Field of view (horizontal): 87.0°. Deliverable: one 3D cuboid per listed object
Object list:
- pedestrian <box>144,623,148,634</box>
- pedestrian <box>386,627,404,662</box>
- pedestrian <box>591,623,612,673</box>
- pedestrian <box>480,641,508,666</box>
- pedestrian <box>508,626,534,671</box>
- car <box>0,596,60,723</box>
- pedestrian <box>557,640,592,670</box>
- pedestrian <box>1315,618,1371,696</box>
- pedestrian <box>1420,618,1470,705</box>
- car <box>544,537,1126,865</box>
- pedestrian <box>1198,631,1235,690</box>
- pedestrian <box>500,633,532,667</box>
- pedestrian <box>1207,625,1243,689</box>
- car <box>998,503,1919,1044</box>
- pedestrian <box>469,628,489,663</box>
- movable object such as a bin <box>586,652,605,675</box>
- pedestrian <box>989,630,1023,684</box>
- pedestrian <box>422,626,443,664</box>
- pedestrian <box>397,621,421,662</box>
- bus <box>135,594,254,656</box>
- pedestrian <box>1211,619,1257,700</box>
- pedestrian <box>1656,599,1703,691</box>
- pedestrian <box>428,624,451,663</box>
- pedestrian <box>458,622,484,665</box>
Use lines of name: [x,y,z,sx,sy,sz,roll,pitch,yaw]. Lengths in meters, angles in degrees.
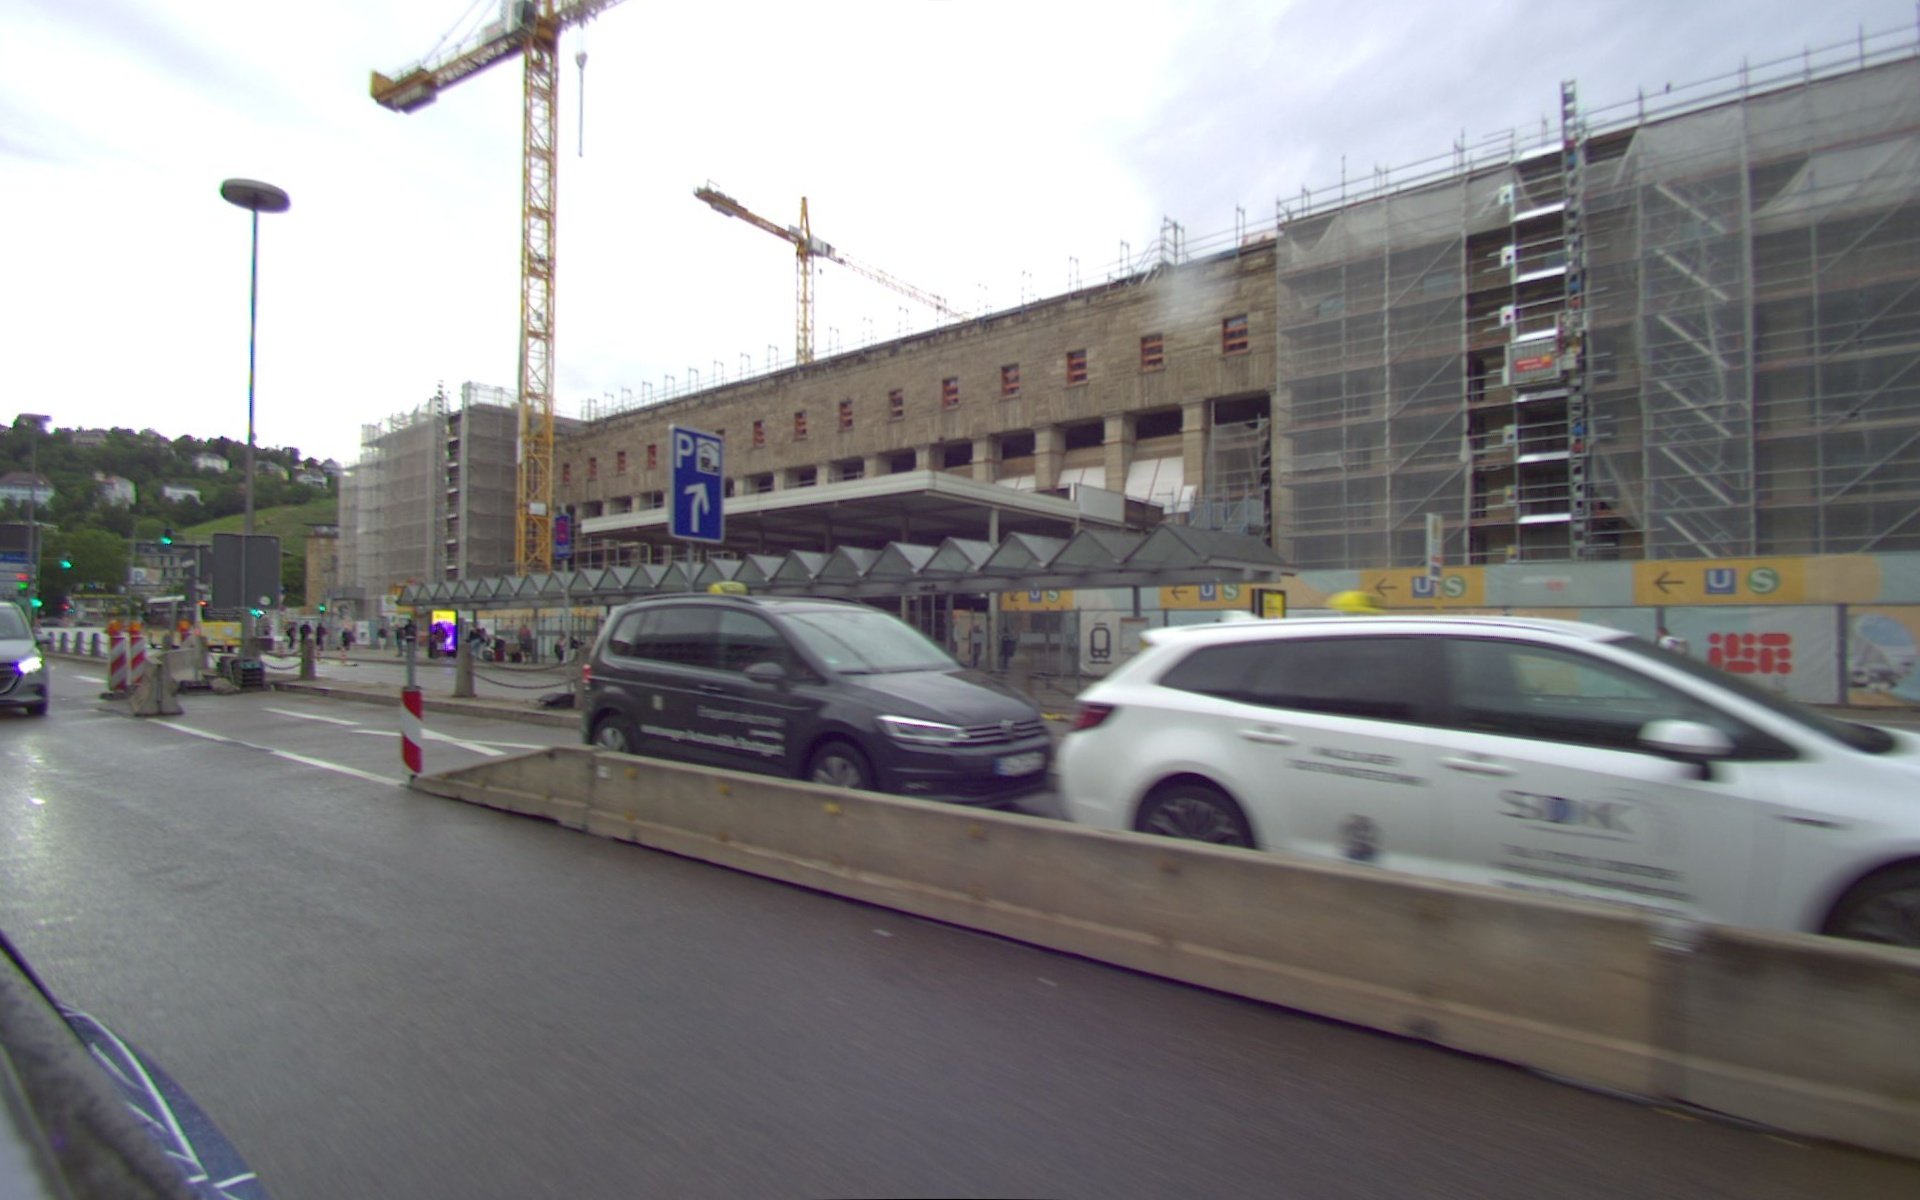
pedestrian: [-117.810,4.144,146.434,0.431,1.512,0.414,1,-2,-35]
pedestrian: [-28.900,2.261,51.755,0.690,1.804,0.796,1,-2,-38]
pedestrian: [-13.343,1.776,37.650,0.549,1.862,0.678,0,-2,-4]
pedestrian: [-21.102,2.401,45.804,0.925,1.101,0.835,-1,-2,39]
pedestrian: [-18.022,1.981,41.527,0.772,1.804,0.673,0,-1,-1]
car: [-16.801,0.949,16.779,5.244,1.919,1.974,-1,-1,39]
pedestrian: [-15.829,2.246,41.529,1.054,1.167,0.940,-2,-2,41]
pedestrian: [9.488,1.393,25.067,1.044,1.855,0.848,-1,0,40]
pedestrian: [11.182,1.397,23.330,0.863,1.954,0.735,-1,0,37]
car: [-1.249,0.645,8.158,4.831,1.876,1.972,-1,-3,42]
pedestrian: [6.845,1.598,27.008,0.700,1.559,0.796,-1,-2,35]
pedestrian: [-19.532,2.187,44.545,0.830,1.443,1.044,-1,-2,39]
pedestrian: [7.232,1.538,27.576,0.700,1.683,0.796,-1,-2,35]
car: [2.693,0.597,4.793,4.827,1.719,1.974,-1,-2,39]
pedestrian: [-23.095,2.180,48.595,0.803,1.643,0.551,-1,-2,32]
movable object such as a bin: [-13.307,2.309,36.978,0.504,0.795,0.634,1,-2,-5]
pedestrian: [1.420,1.733,31.080,0.701,1.620,0.795,-1,-2,39]
pedestrian: [-25.396,2.143,48.697,0.803,1.804,0.551,-1,-2,32]
pedestrian: [-26.711,1.993,49.058,0.821,1.974,0.752,-1,-2,38]
bus: [-50.265,1.659,66.035,19.078,3.605,2.877,-1,-3,43]
pedestrian: [6.389,1.374,23.597,0.734,1.855,0.704,1,-2,-30]
pedestrian: [14.731,0.909,20.725,0.656,1.855,0.734,-2,-2,44]
pedestrian: [-24.399,2.028,47.448,0.746,1.804,0.717,-1,-2,35]
pedestrian: [-20.859,1.825,43.154,0.766,1.804,0.861,1,-2,-42]
